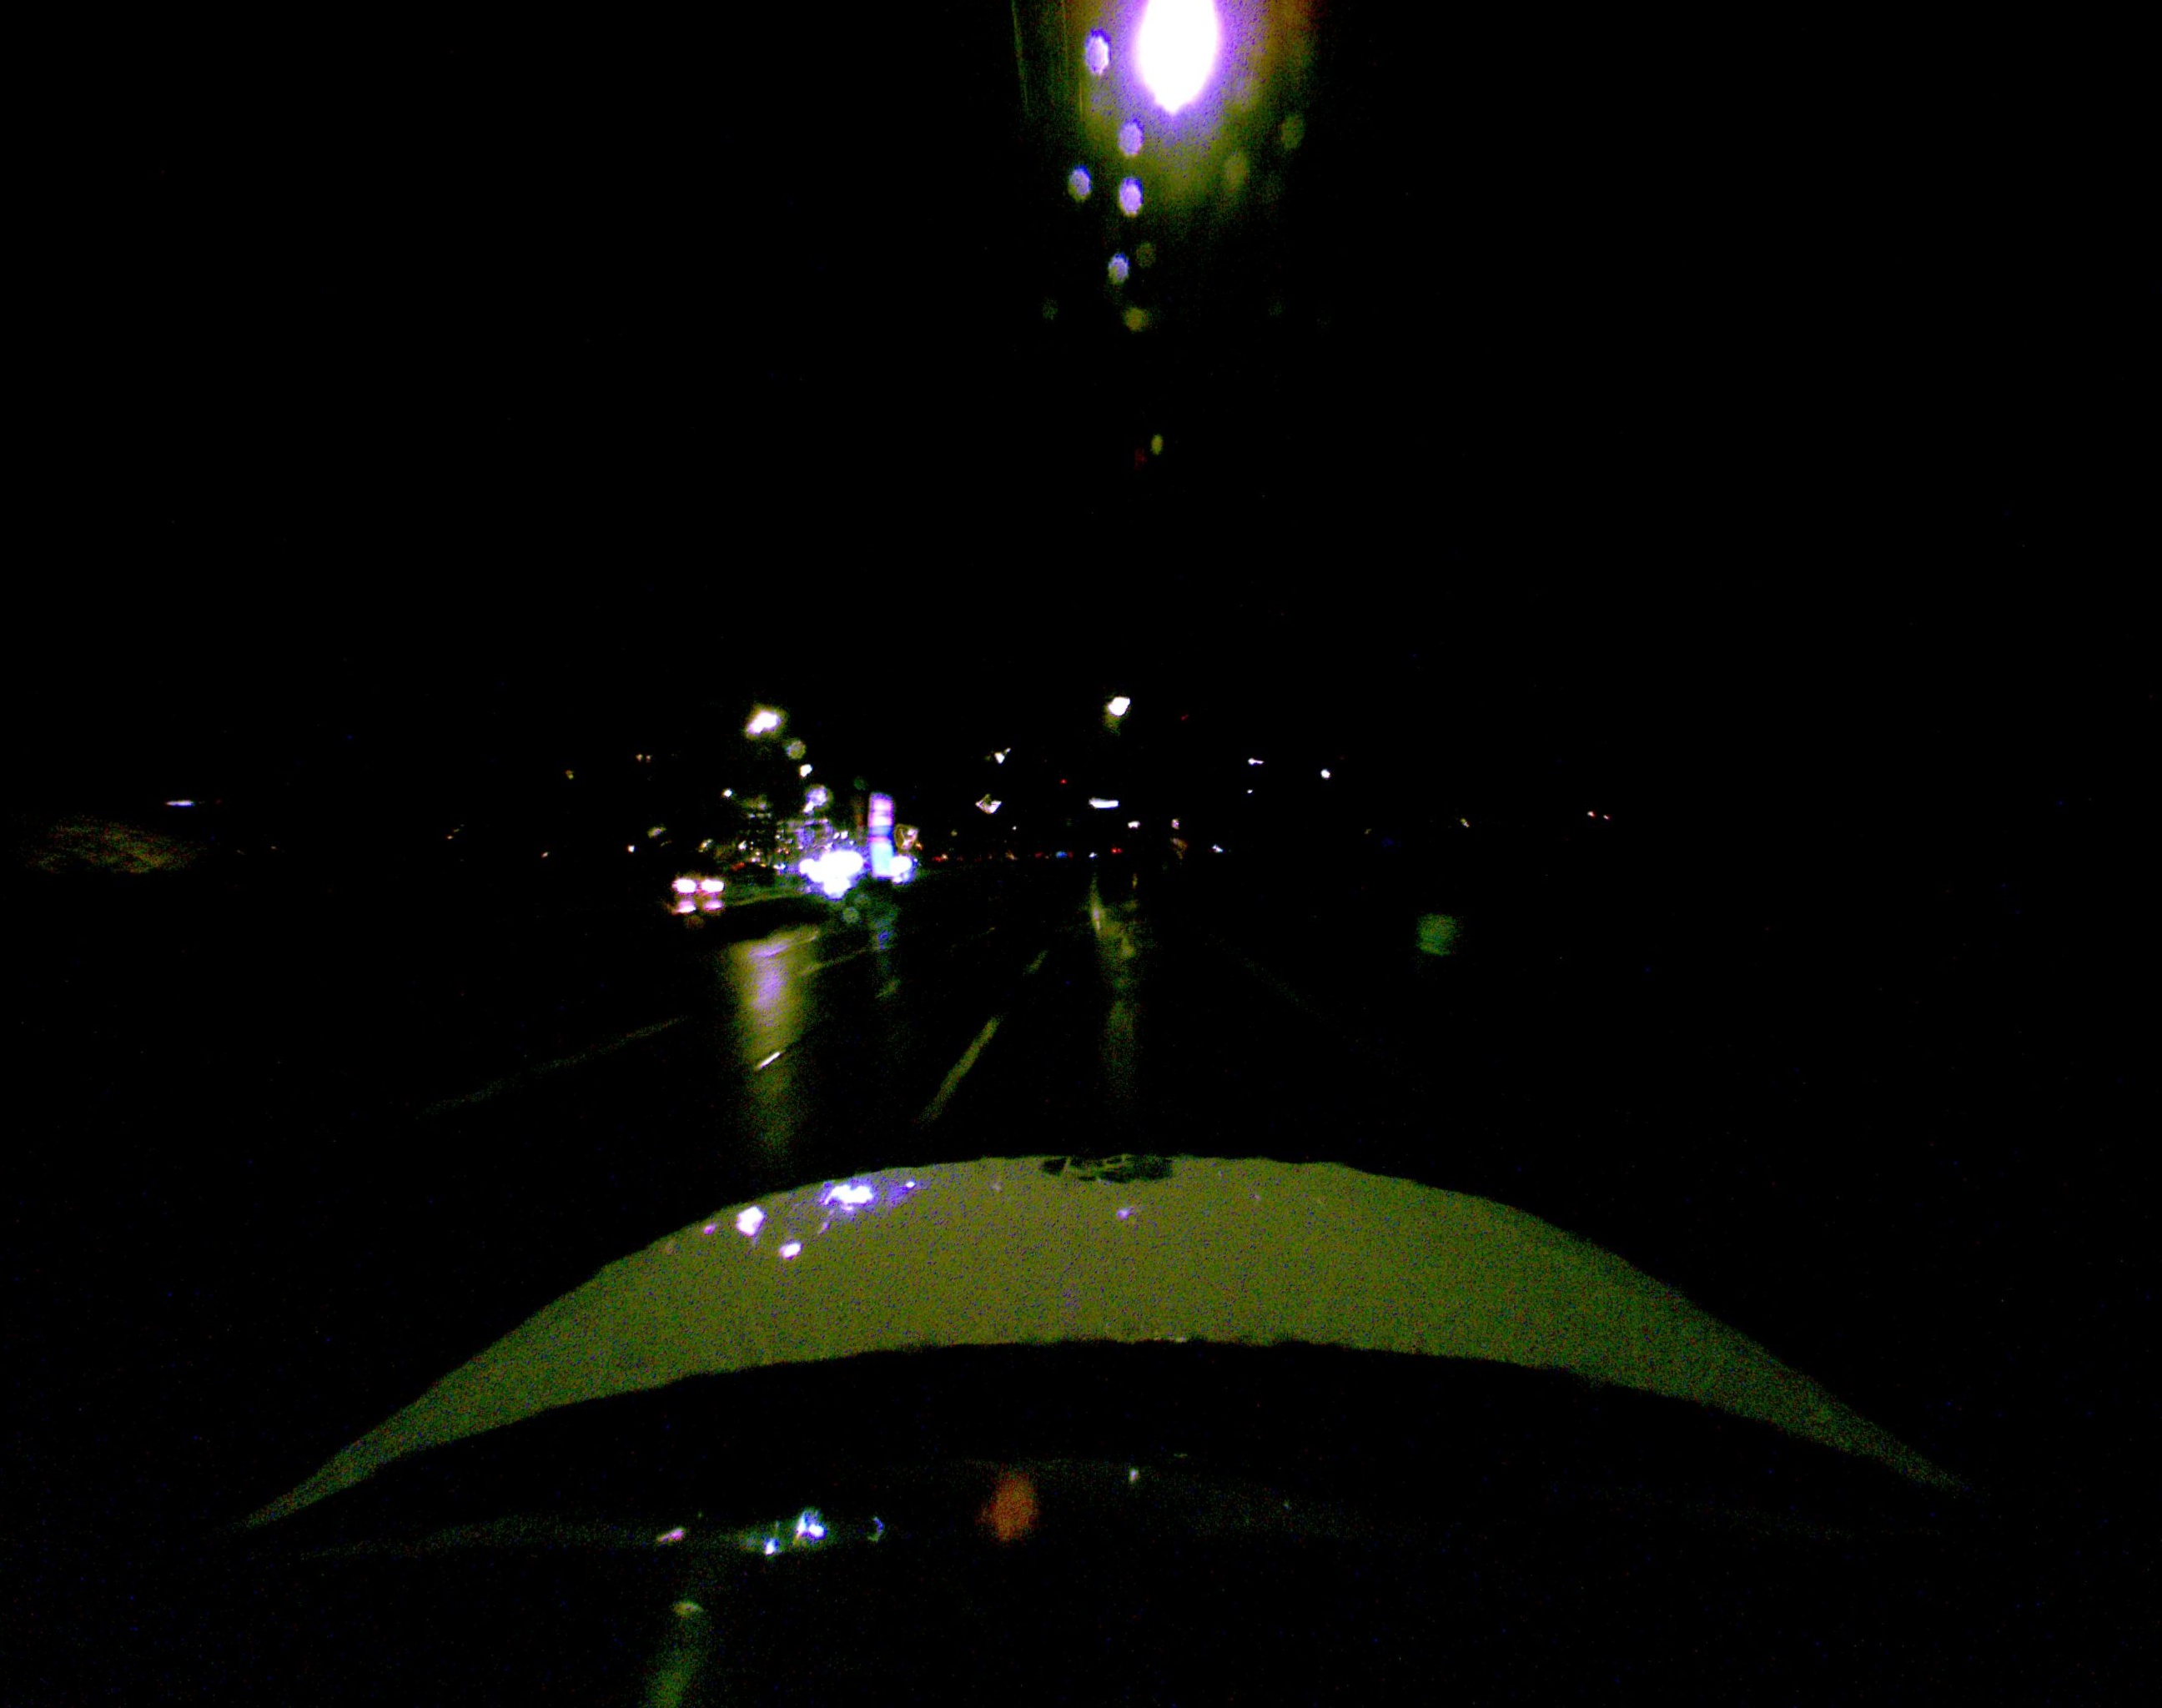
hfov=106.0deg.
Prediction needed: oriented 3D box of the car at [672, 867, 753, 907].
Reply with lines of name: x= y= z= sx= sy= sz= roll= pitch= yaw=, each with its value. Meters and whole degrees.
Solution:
car: x=-17.876 y=1.564 z=39.762 sx=1.822 sy=1.713 sz=4.443 roll=-1 pitch=0 yaw=2

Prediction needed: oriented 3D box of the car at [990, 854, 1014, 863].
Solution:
car: x=-13.436 y=0.767 z=138.711 sx=3.981 sy=1.616 sz=1.833 roll=-1 pitch=0 yaw=-5

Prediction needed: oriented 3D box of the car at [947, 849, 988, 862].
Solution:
car: x=-19.101 y=0.230 z=136.855 sx=6.320 sy=2.089 sz=2.496 roll=-1 pitch=0 yaw=-23

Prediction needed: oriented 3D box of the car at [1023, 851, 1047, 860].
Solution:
car: x=-7.787 y=0.244 z=138.413 sx=3.940 sy=1.578 sz=1.736 roll=-1 pitch=0 yaw=-1

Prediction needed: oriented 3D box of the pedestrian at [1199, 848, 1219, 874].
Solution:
pedestrian: x=9.209 y=0.494 z=58.756 sx=1.223 sy=1.794 sz=1.490 roll=-1 pitch=0 yaw=1

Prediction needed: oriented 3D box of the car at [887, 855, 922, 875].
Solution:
car: x=-13.762 y=0.822 z=63.655 sx=1.823 sy=1.464 sz=3.999 roll=-1 pitch=0 yaw=-1

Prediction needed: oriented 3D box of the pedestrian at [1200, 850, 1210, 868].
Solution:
pedestrian: x=9.863 y=0.399 z=64.805 sx=0.723 sy=1.485 sz=0.836 roll=-1 pitch=0 yaw=1

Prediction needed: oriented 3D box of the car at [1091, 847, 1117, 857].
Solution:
car: x=3.869 y=-0.336 z=136.235 sx=3.949 sy=1.616 sz=1.848 roll=0 pitch=0 yaw=27
